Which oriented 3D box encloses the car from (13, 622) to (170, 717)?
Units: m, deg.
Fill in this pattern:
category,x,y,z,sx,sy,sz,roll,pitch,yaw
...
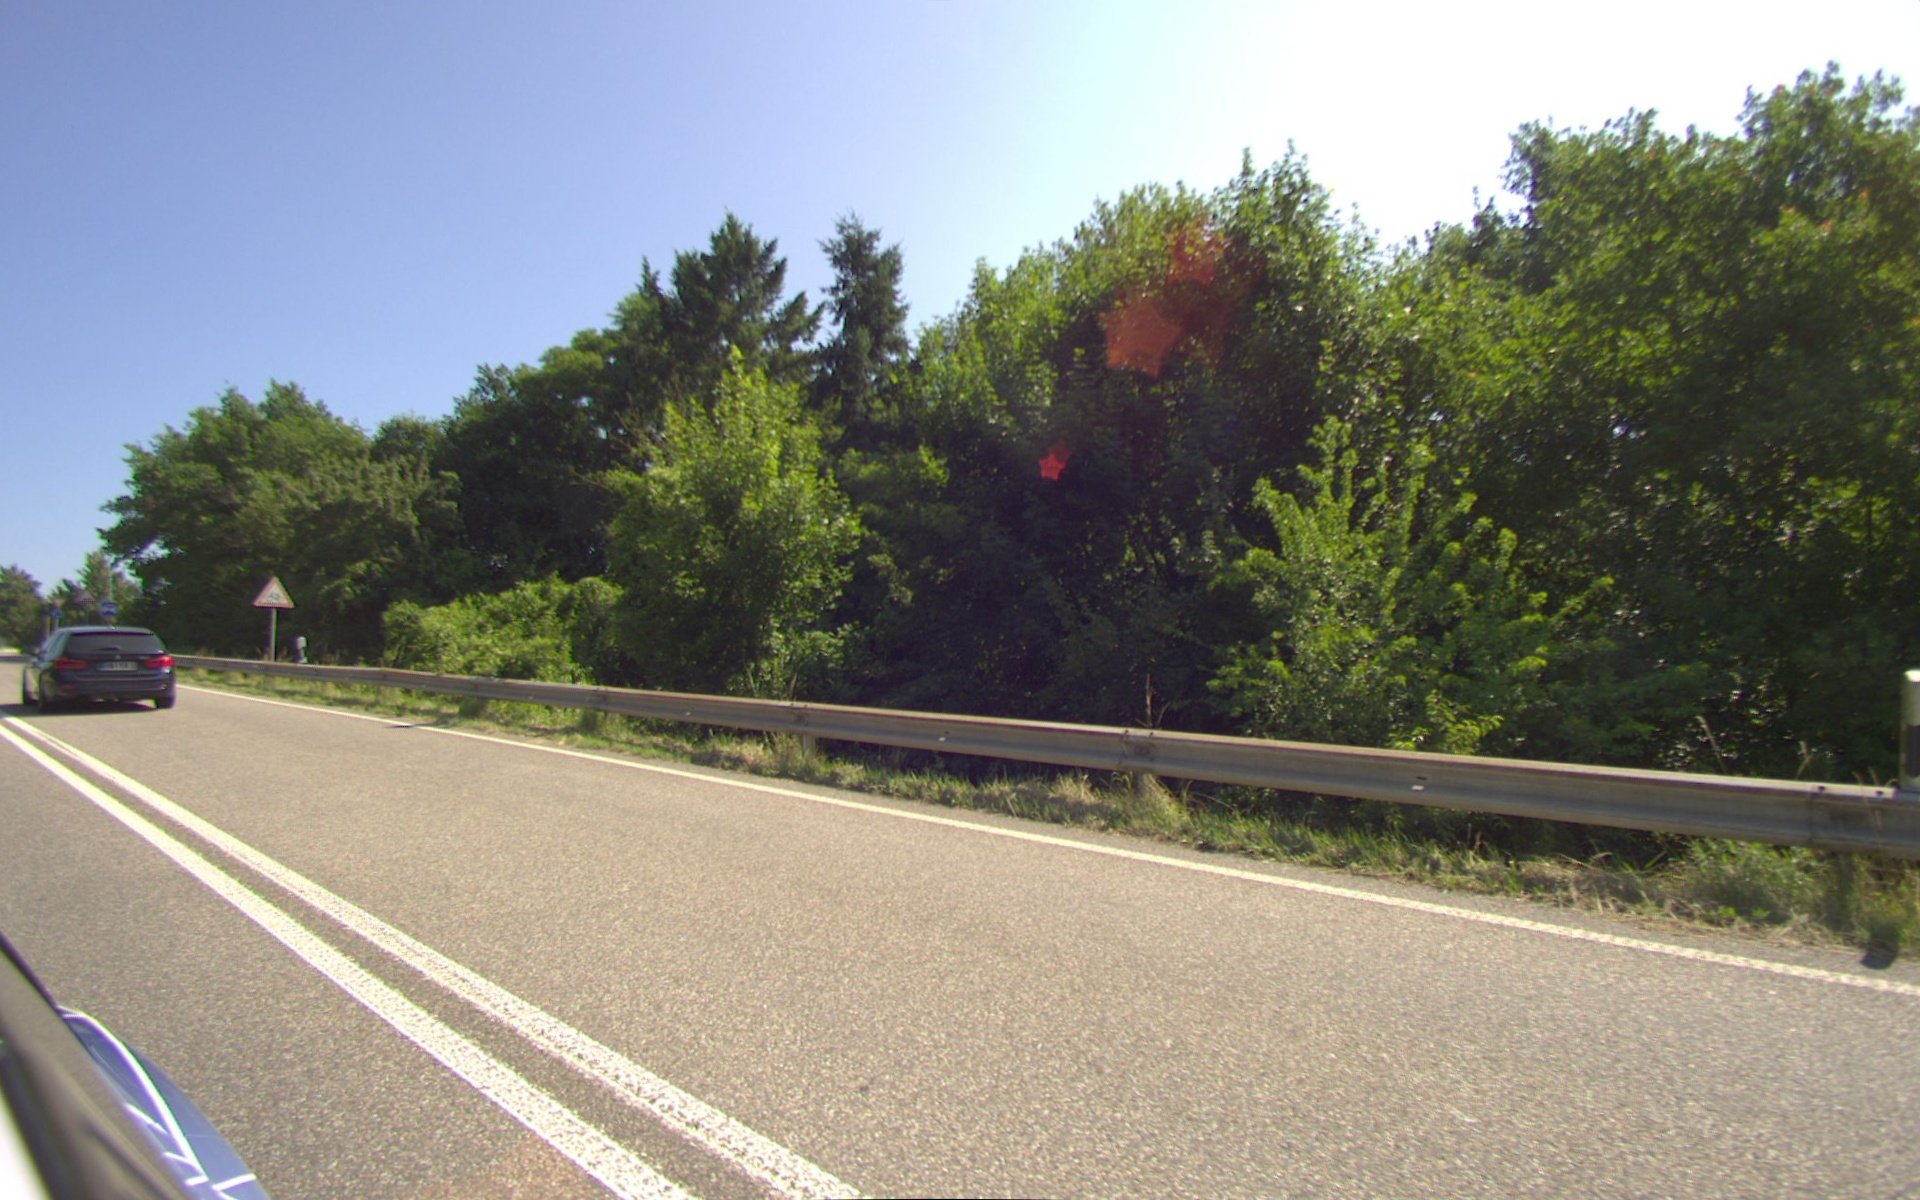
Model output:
category,x,y,z,sx,sy,sz,roll,pitch,yaw
car,-15.342,1.131,17.804,4.219,1.484,1.590,-1,-2,43
